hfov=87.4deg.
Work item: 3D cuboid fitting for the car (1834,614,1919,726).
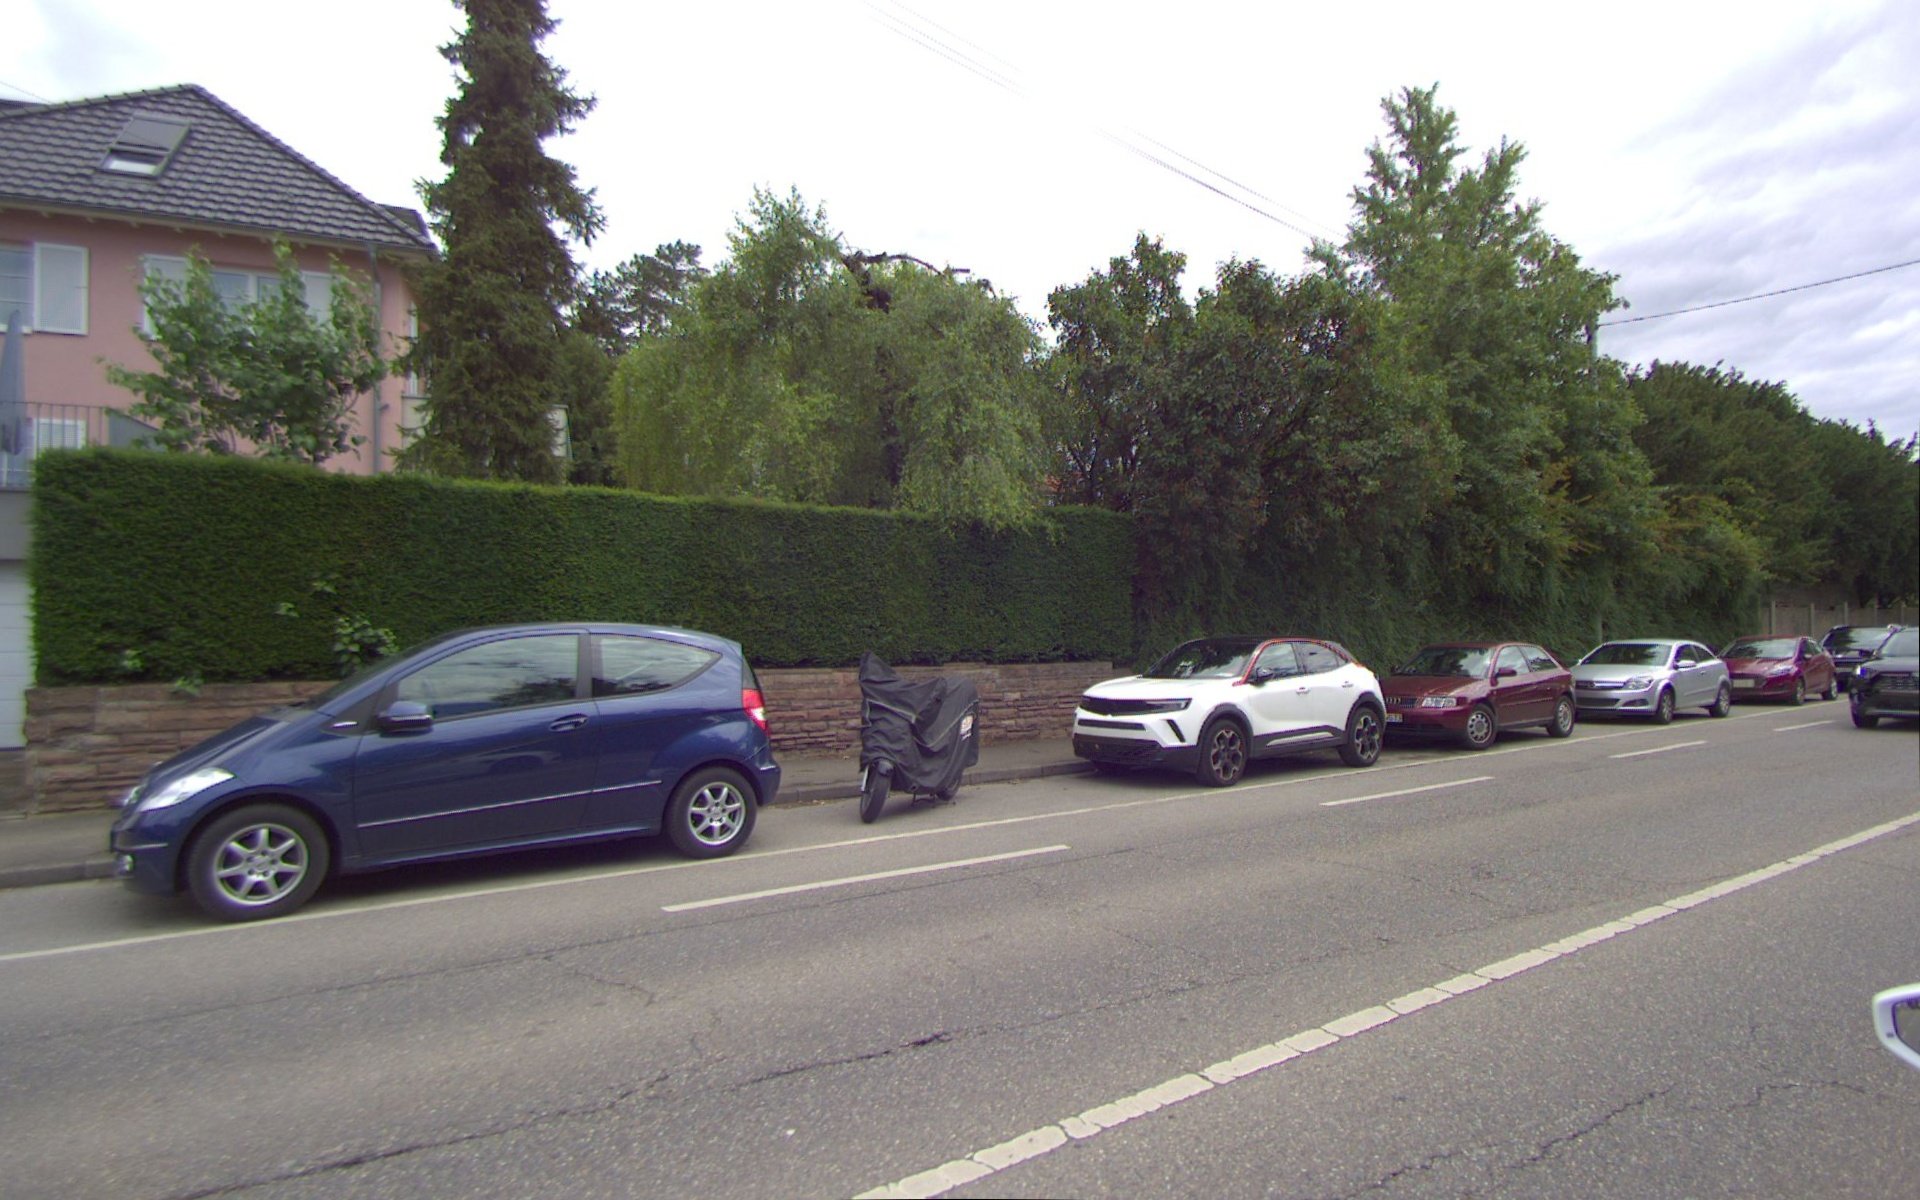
[{"bbox_3d":[16.037,1.065,16.211,4.168,1.668,1.832,0,-2,-33],"label":"car"}]

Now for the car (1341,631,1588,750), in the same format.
[{"bbox_3d":[7.410,1.228,14.628,3.874,1.497,1.658,1,-3,-37],"label":"car"}]

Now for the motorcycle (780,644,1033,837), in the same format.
[{"bbox_3d":[-0.391,1.127,8.783,0.875,1.373,2.296,-4,-2,38],"label":"motorcycle"}]

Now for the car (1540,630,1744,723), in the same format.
[{"bbox_3d":[12.487,1.328,18.292,4.388,1.508,1.658,1,-3,-36],"label":"car"}]

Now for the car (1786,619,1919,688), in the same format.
[{"bbox_3d":[23.546,1.353,26.297,4.425,1.664,1.979,1,-3,-37],"label":"car"}]

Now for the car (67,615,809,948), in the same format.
[{"bbox_3d":[-3.134,0.960,6.641,3.933,1.576,1.667,2,-4,-36],"label":"car"}]

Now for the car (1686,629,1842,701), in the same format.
[{"bbox_3d":[17.901,1.385,22.309,3.963,1.457,1.767,1,-3,-37],"label":"car"}]

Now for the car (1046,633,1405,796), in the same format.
[{"bbox_3d":[3.094,1.168,11.428,3.989,1.514,1.876,1,-3,-37],"label":"car"}]
